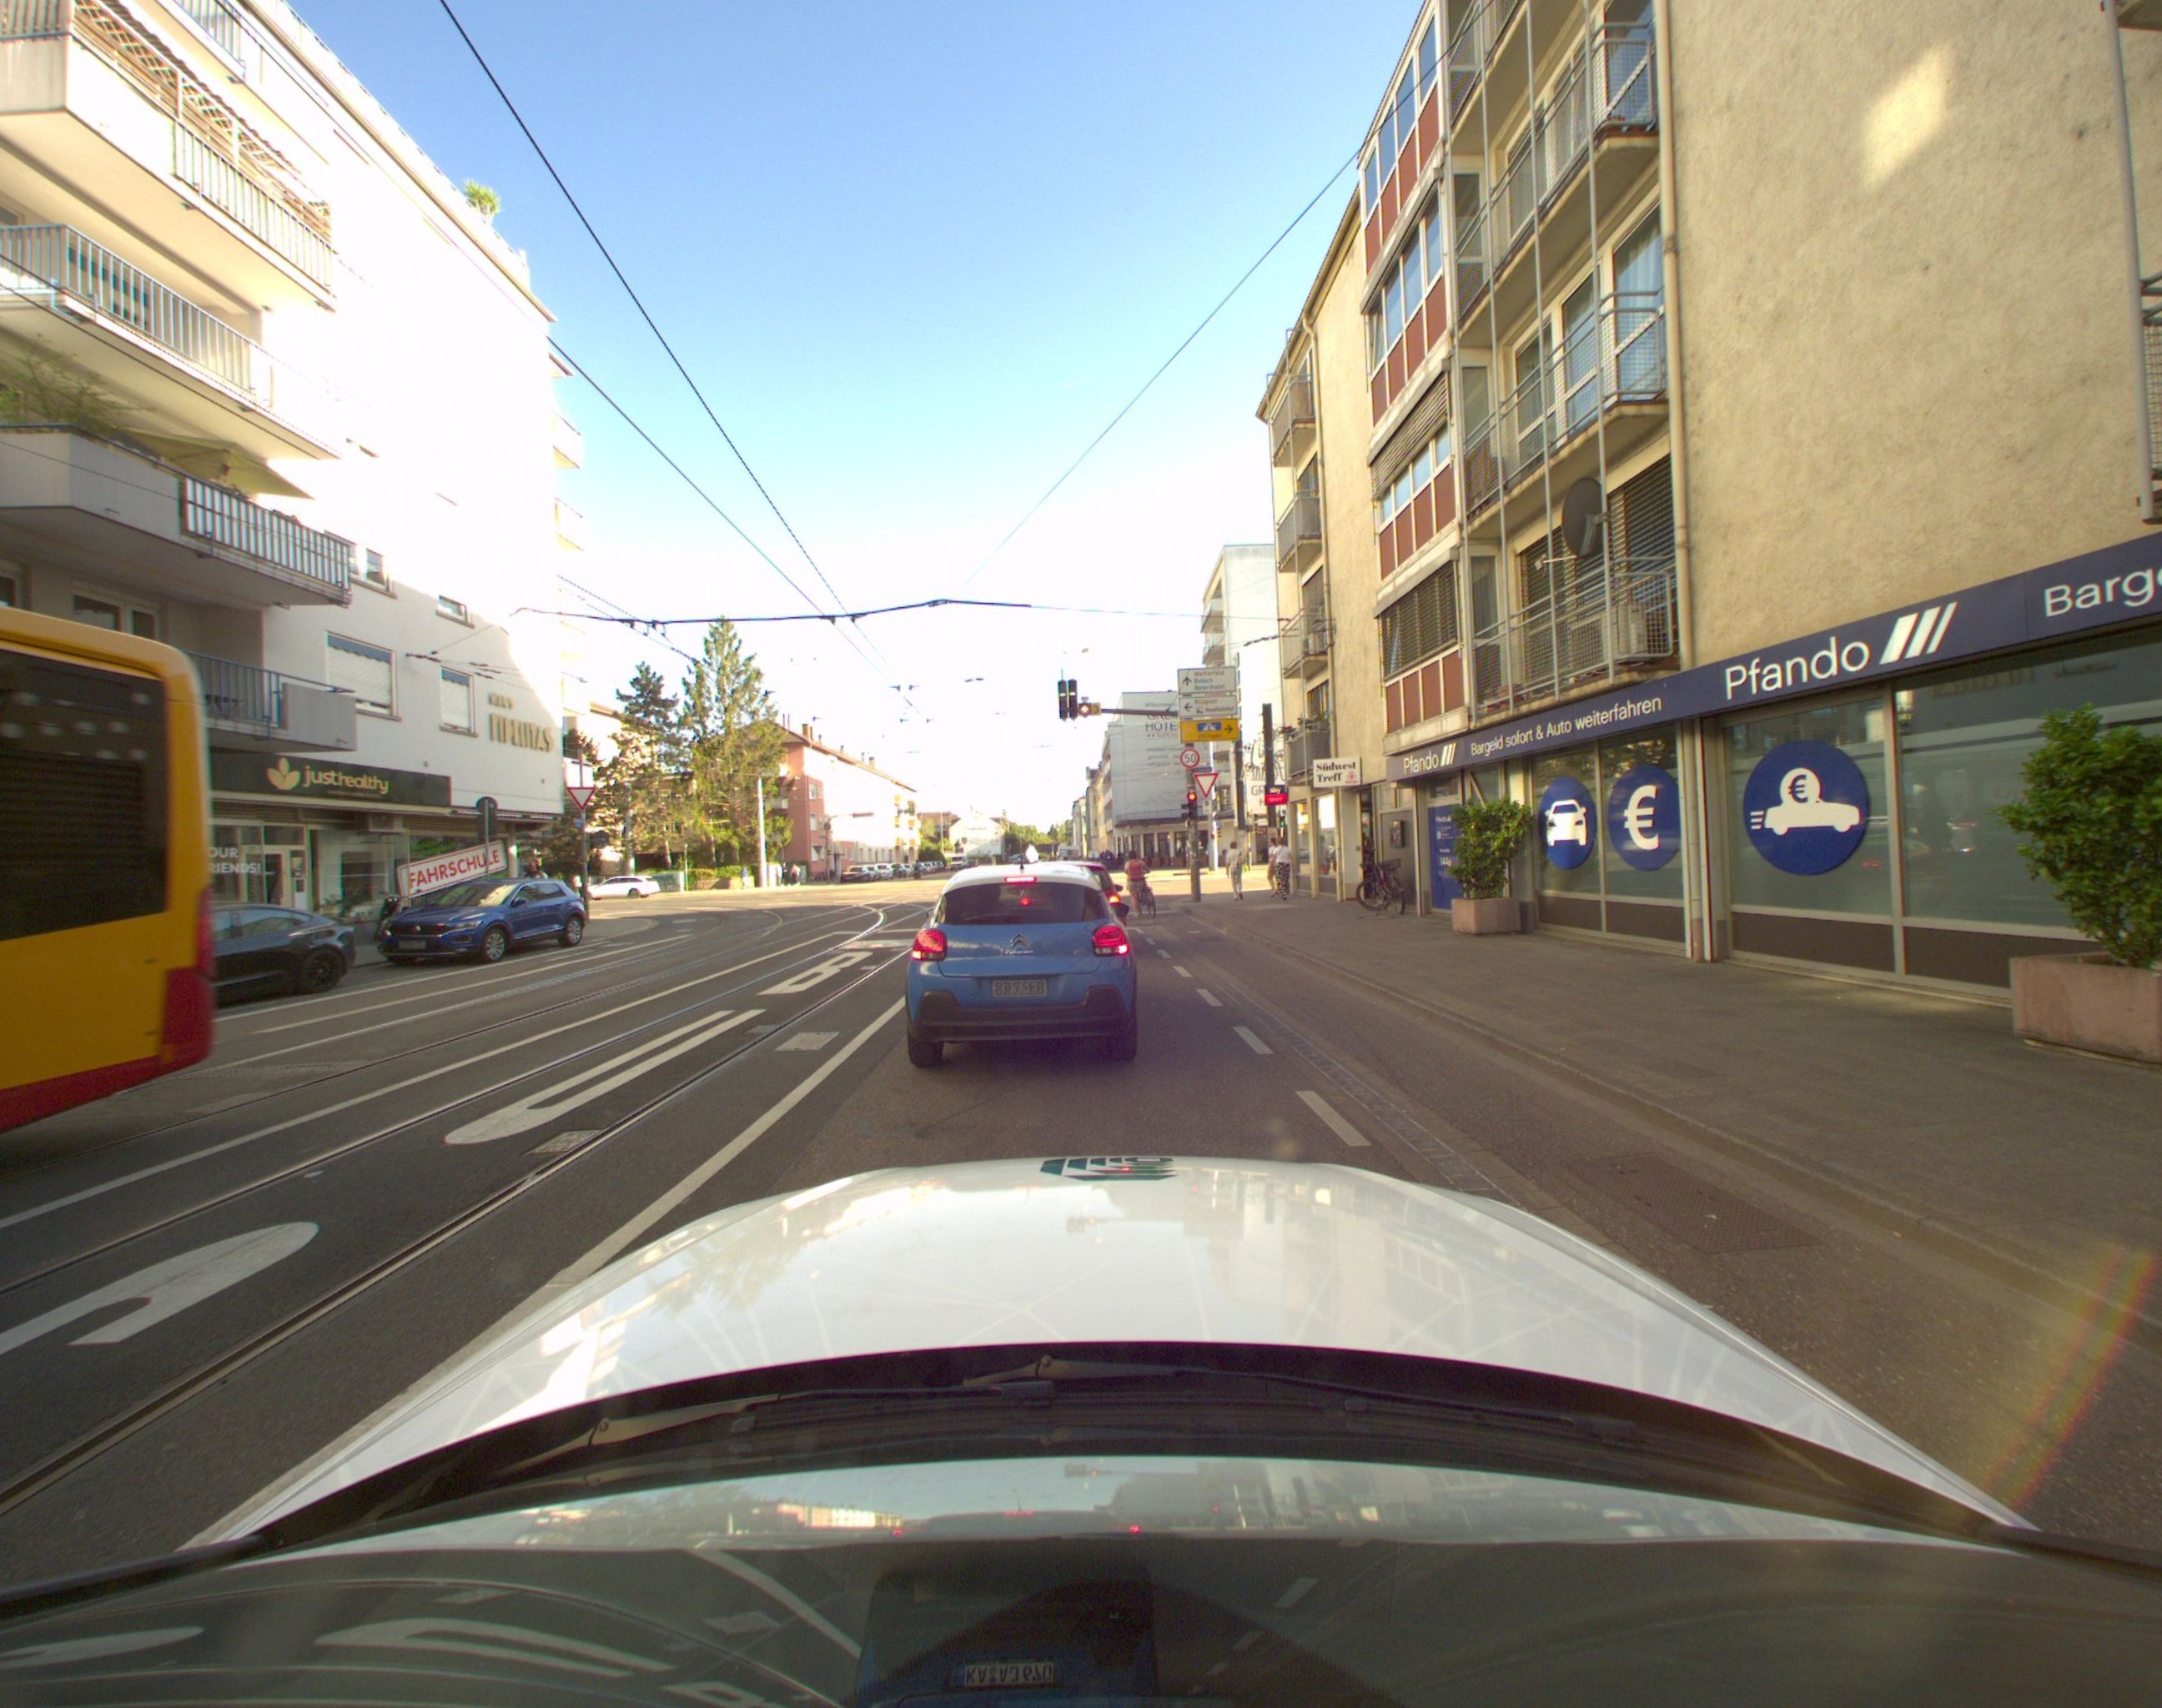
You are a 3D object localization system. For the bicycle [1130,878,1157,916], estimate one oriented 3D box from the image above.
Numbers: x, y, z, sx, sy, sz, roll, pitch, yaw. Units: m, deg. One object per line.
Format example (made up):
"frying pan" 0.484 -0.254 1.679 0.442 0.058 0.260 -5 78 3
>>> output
"bicycle" 1.568 1.071 20.714 0.497 0.864 1.748 -2 0 0

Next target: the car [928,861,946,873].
"car" -20.618 1.882 116.848 1.865 1.574 3.997 -2 0 -2

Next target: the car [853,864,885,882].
"car" -19.525 1.729 75.182 1.906 1.497 3.997 -3 0 -2

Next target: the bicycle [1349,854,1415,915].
"bicycle" 5.771 0.553 15.721 0.528 1.072 1.810 -2 0 -1

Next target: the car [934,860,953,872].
"car" -20.574 1.819 122.277 2.024 1.619 4.509 -3 0 -1

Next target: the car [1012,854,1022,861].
"car" -14.678 0.848 188.048 2.016 1.525 3.997 -3 0 -2

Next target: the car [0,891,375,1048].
"car" -12.016 1.323 10.729 1.694 1.509 4.310 -1 -1 -1

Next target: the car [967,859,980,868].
"car" -19.143 1.739 145.162 2.016 1.525 3.997 -2 0 -2

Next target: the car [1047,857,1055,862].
"car" -7.109 1.317 193.604 1.752 1.259 3.825 -2 0 -5

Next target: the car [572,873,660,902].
"car" -29.492 2.091 51.763 4.390 1.574 1.848 -3 0 -12

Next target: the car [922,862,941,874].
"car" -20.534 1.901 111.750 1.906 1.497 3.997 -3 0 -2

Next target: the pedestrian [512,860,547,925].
"pedestrian" -17.298 1.195 25.546 0.684 2.013 0.486 -2 0 1

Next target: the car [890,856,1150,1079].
"car" -0.545 0.769 7.550 1.740 1.462 3.994 -1 0 -4

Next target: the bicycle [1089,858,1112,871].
"bicycle" 1.604 0.890 67.175 1.866 0.957 0.702 -3 0 3

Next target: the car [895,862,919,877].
"car" -19.814 1.755 92.745 1.906 1.497 3.997 -3 0 -2

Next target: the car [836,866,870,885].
"car" -19.430 1.772 69.448 1.907 1.433 3.995 -3 0 -4

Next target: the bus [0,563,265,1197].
"bus" -6.663 0.169 1.510 2.731 3.161 7.571 -2 0 -2

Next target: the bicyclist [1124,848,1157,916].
"bicyclist" 1.490 0.681 20.380 0.723 1.646 0.790 -2 0 1

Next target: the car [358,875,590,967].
"car" -11.871 1.224 16.313 1.740 1.509 3.996 -1 -1 -2

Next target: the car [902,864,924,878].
"car" -20.218 2.064 98.329 1.906 1.497 3.997 -3 0 -2

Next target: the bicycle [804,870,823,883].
"bicycle" -22.468 1.869 68.412 0.730 0.952 2.597 -2 0 0

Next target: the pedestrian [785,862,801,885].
"pedestrian" -21.683 1.476 61.269 0.840 1.690 0.738 -2 0 4

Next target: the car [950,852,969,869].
"car" -17.880 0.947 119.940 2.201 2.251 4.673 -3 0 -2

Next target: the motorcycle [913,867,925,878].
"motorcycle" -13.487 1.556 67.759 0.613 0.864 1.671 -3 0 2

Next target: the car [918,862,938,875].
"car" -20.032 1.856 106.736 1.906 1.497 3.997 -3 0 -2

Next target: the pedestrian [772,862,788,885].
"pedestrian" -22.667 1.460 61.297 0.840 1.690 0.738 -2 0 4

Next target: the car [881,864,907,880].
"car" -19.813 1.889 86.601 1.906 1.497 3.997 -3 0 -2

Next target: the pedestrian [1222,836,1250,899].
"pedestrian" 4.299 0.357 22.577 0.539 1.672 0.624 -4 1 0

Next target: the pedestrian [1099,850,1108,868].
"pedestrian" 2.029 0.458 74.461 0.648 1.556 0.490 -2 0 -20

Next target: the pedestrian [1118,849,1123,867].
"pedestrian" 3.408 0.349 70.234 0.284 1.556 0.304 -2 0 -7

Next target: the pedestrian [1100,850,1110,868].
"pedestrian" 2.152 0.443 72.653 0.648 1.556 0.490 -2 0 -20

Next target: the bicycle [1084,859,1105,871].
"bicycle" 1.126 0.913 68.546 1.713 0.957 0.702 -3 0 3

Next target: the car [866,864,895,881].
"car" -19.588 1.783 79.810 1.906 1.497 3.997 -3 0 -2

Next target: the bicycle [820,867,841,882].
"bicycle" -22.815 1.881 74.277 0.845 1.225 3.304 -2 0 0

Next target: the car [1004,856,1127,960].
"car" -0.160 0.792 13.768 1.732 1.420 4.002 -2 0 2

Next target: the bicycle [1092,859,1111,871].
"bicycle" 1.661 0.883 66.113 1.497 0.957 0.702 -3 0 3

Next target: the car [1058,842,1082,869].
"car" -1.006 0.152 72.636 1.988 2.325 3.998 -1 0 -1

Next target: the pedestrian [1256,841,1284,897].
"pedestrian" 5.248 0.403 22.614 0.539 1.507 0.611 -4 1 0

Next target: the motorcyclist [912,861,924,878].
"motorcyclist" -13.494 1.268 67.605 0.716 1.378 0.912 -2 0 2

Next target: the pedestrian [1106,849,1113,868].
"pedestrian" 2.441 0.372 69.731 0.490 1.556 0.383 -3 0 -2

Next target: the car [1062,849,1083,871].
"car" -0.725 0.461 67.709 1.727 1.750 3.212 -1 0 -1

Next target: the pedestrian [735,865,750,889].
"pedestrian" -24.192 1.644 58.231 0.854 1.625 0.510 -2 0 -32

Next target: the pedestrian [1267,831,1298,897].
"pedestrian" 5.292 0.265 21.445 0.539 1.672 0.650 -4 0 0

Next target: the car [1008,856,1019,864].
"car" -14.070 1.326 169.978 2.016 1.525 3.997 -2 0 -2
